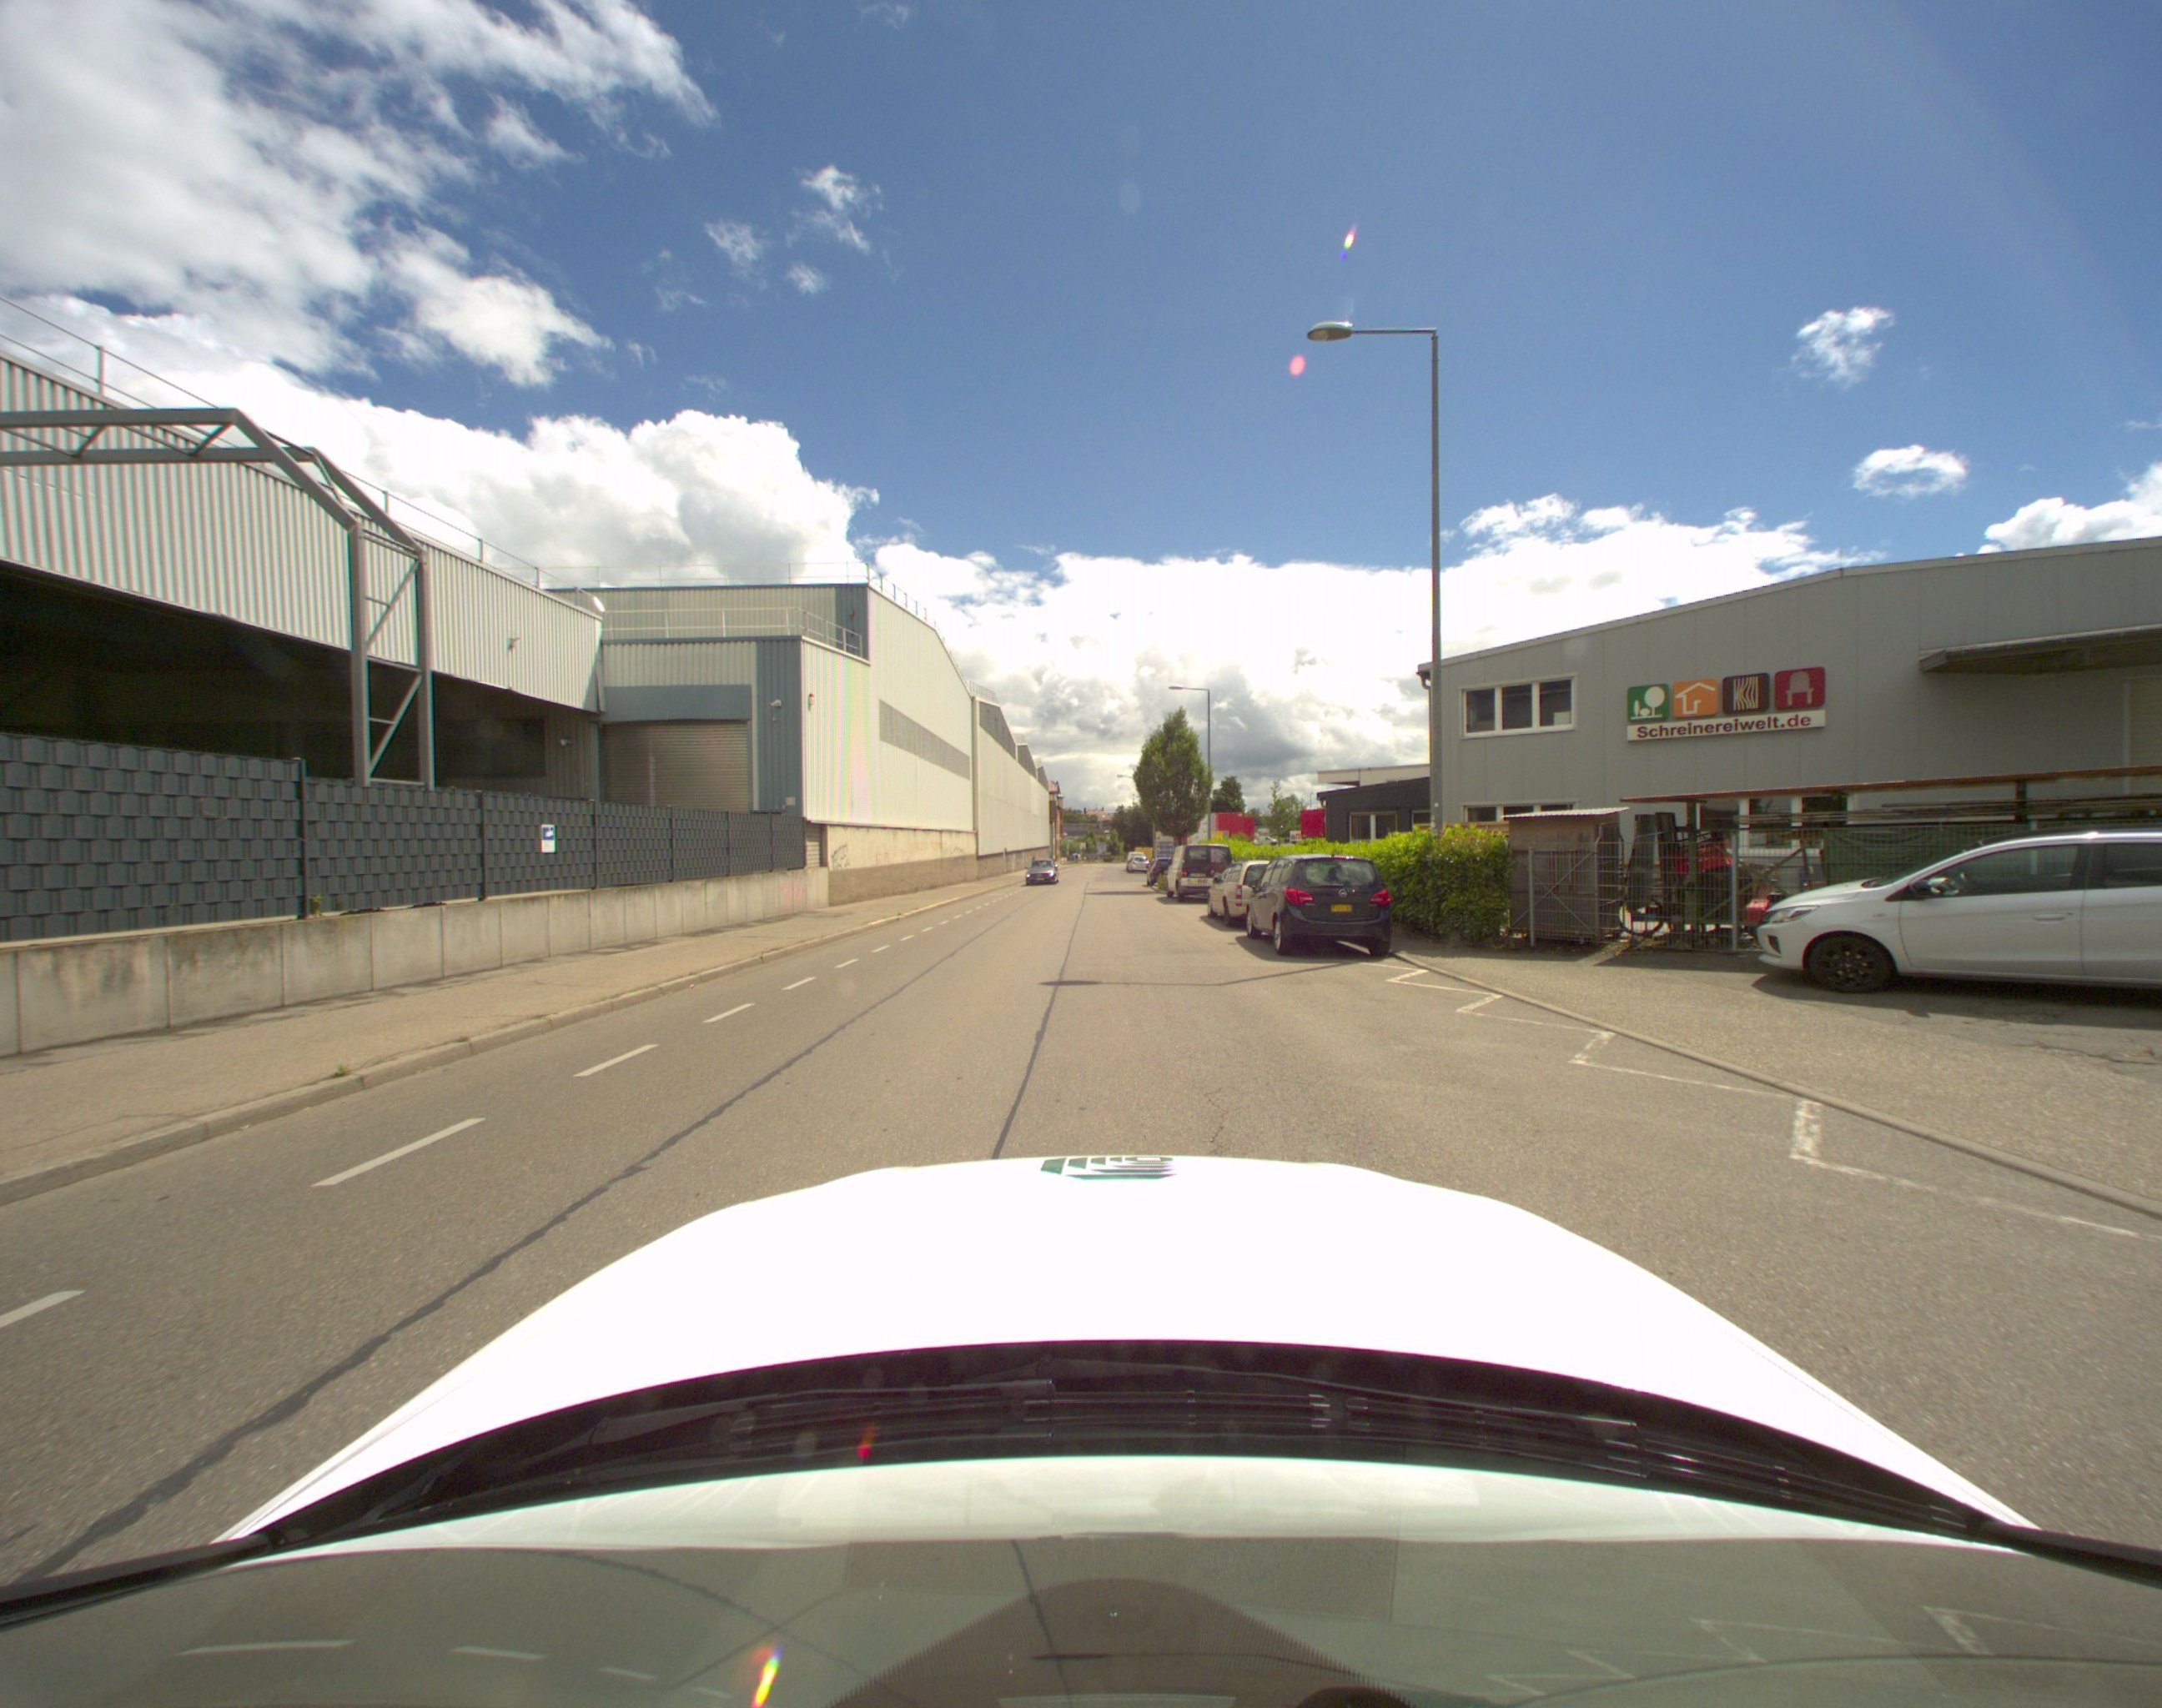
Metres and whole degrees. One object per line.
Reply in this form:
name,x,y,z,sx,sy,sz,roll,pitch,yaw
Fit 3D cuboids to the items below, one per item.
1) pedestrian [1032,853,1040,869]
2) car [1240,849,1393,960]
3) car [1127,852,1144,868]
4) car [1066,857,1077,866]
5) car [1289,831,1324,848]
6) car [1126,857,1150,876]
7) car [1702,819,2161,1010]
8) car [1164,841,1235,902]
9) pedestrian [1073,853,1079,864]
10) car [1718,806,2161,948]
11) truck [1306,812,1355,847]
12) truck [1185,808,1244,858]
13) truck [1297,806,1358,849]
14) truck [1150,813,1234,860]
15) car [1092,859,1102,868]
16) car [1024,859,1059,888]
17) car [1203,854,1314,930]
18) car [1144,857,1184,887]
pedestrian,-4.590,0.740,82.890,0.710,1.638,0.777,-1,-2,3
car,3.907,0.760,14.173,1.672,1.638,4.126,0,0,3
car,5.597,0.617,83.976,1.694,1.527,3.741,-1,0,3
car,-1.596,1.295,140.123,1.846,1.486,4.000,-1,-2,1
car,39.159,-2.445,141.335,5.589,2.677,2.010,-2,-2,22
car,5.061,1.113,73.189,1.697,1.527,3.734,2,0,-2
car,8.703,0.504,7.773,1.733,1.462,4.028,-4,0,-37
car,4.151,0.591,29.204,1.862,1.990,5.144,-1,0,1
pedestrian,-0.723,0.737,123.537,0.849,1.663,0.861,-1,-2,6
car,11.218,0.304,10.778,1.696,1.505,4.028,-4,0,-37
truck,32.838,-3.111,107.006,2.961,4.060,8.529,-3,-3,40
truck,13.046,-1.956,80.112,2.579,4.449,7.818,0,-2,-16
truck,26.560,-2.761,87.472,2.961,4.060,8.529,-3,-3,40
truck,11.851,-1.815,86.988,8.376,4.671,2.596,-2,-2,22
car,3.025,1.740,151.648,1.846,1.486,4.000,-1,-2,1
car,-2.335,1.156,49.136,1.713,1.556,4.288,-4,-1,1
car,4.000,0.801,19.098,1.649,1.540,4.735,-1,0,1
car,4.299,0.935,42.924,1.708,1.474,4.512,-1,0,1
